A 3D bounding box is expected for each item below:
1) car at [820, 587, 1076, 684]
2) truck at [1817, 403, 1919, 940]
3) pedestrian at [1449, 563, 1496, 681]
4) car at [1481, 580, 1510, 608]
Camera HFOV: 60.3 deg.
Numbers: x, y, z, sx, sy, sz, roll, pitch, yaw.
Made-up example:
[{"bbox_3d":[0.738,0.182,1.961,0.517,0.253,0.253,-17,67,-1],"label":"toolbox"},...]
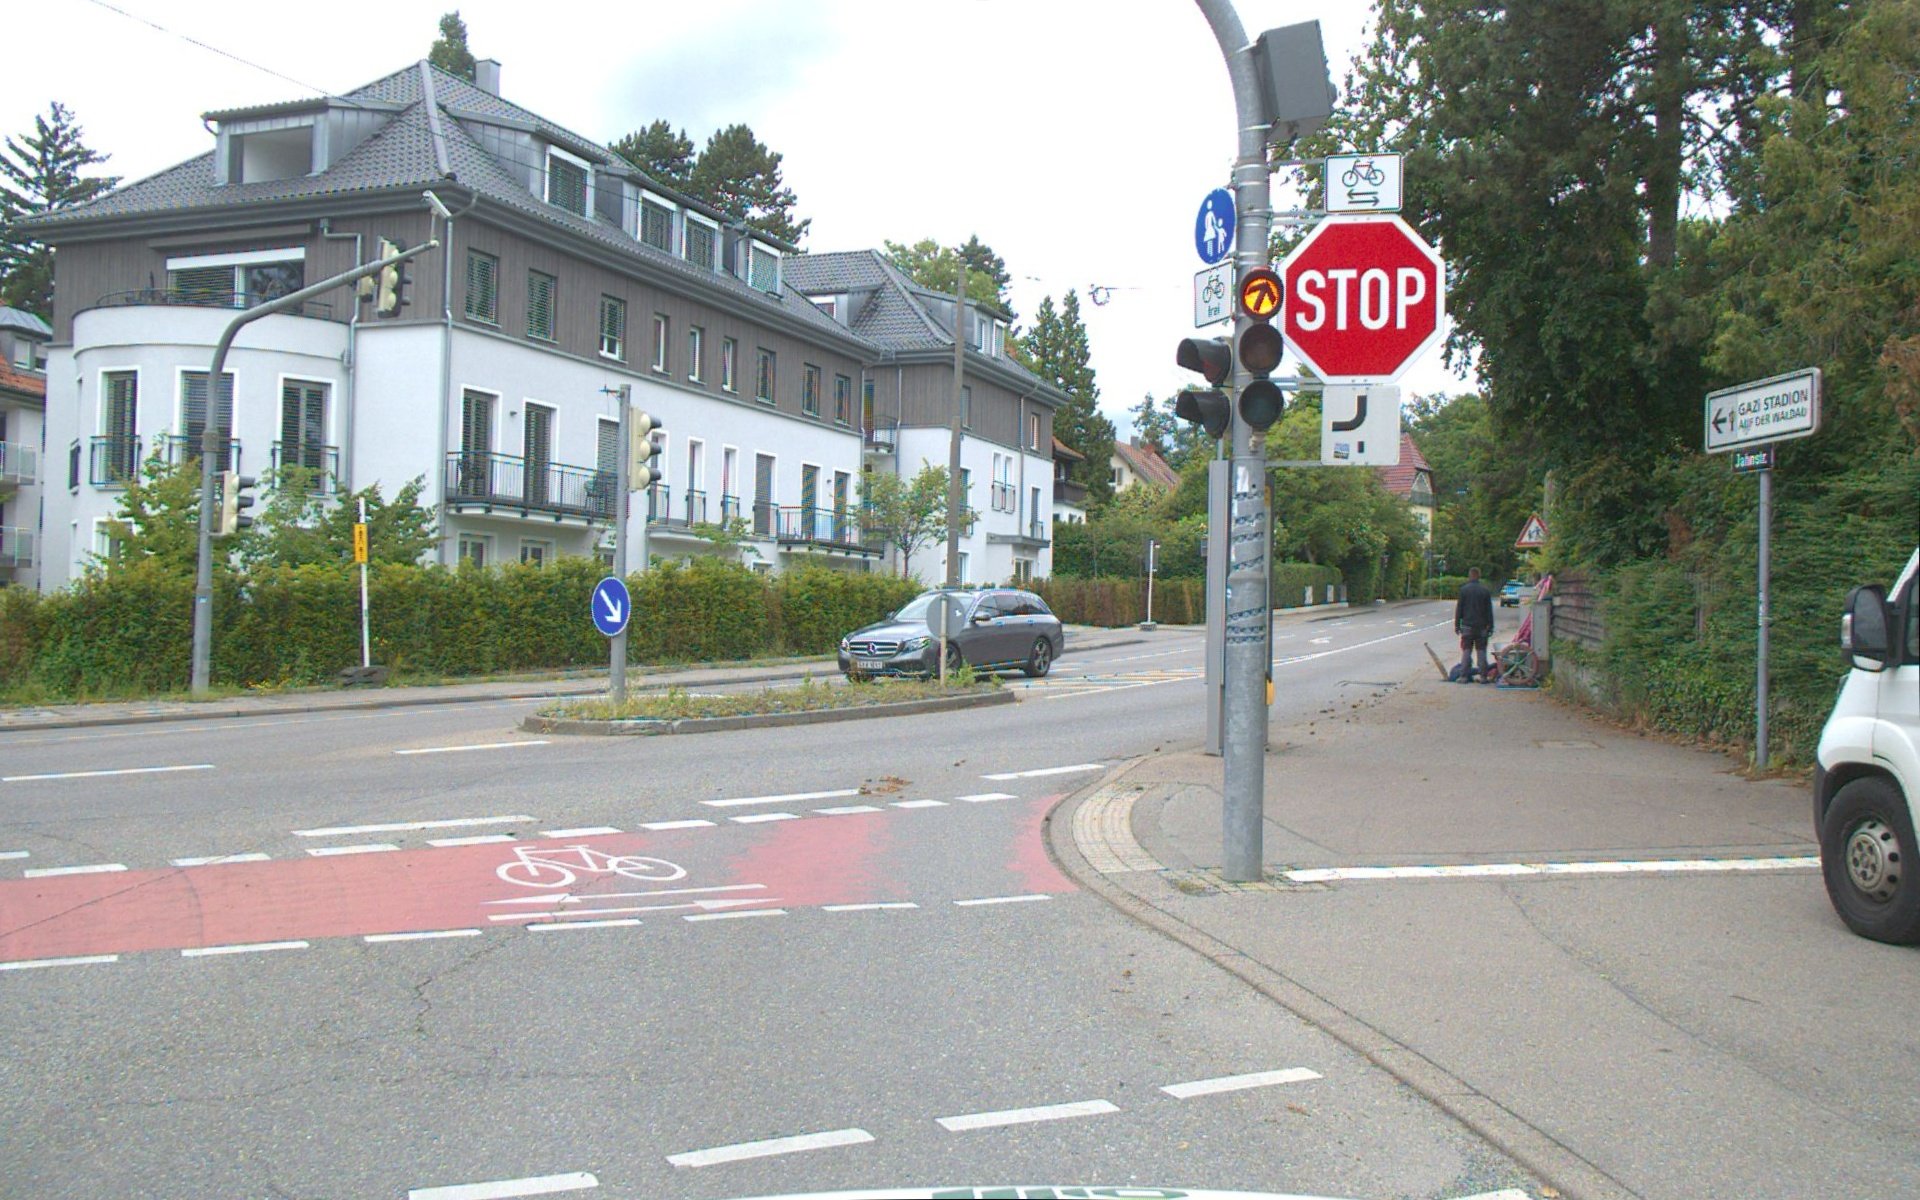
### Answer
[{"bbox_3d":[-0.083,0.513,27.147,1.905,1.428,4.728,1,1,34],"label":"car"},{"bbox_3d":[5.129,0.318,5.023,2.162,2.283,5.724,1,0,1],"label":"truck"},{"bbox_3d":[8.542,0.365,27.574,0.584,1.940,0.558,1,0,0],"label":"pedestrian"},{"bbox_3d":[36.241,-0.412,111.839,1.770,1.784,4.488,-1,0,19],"label":"car"}]
